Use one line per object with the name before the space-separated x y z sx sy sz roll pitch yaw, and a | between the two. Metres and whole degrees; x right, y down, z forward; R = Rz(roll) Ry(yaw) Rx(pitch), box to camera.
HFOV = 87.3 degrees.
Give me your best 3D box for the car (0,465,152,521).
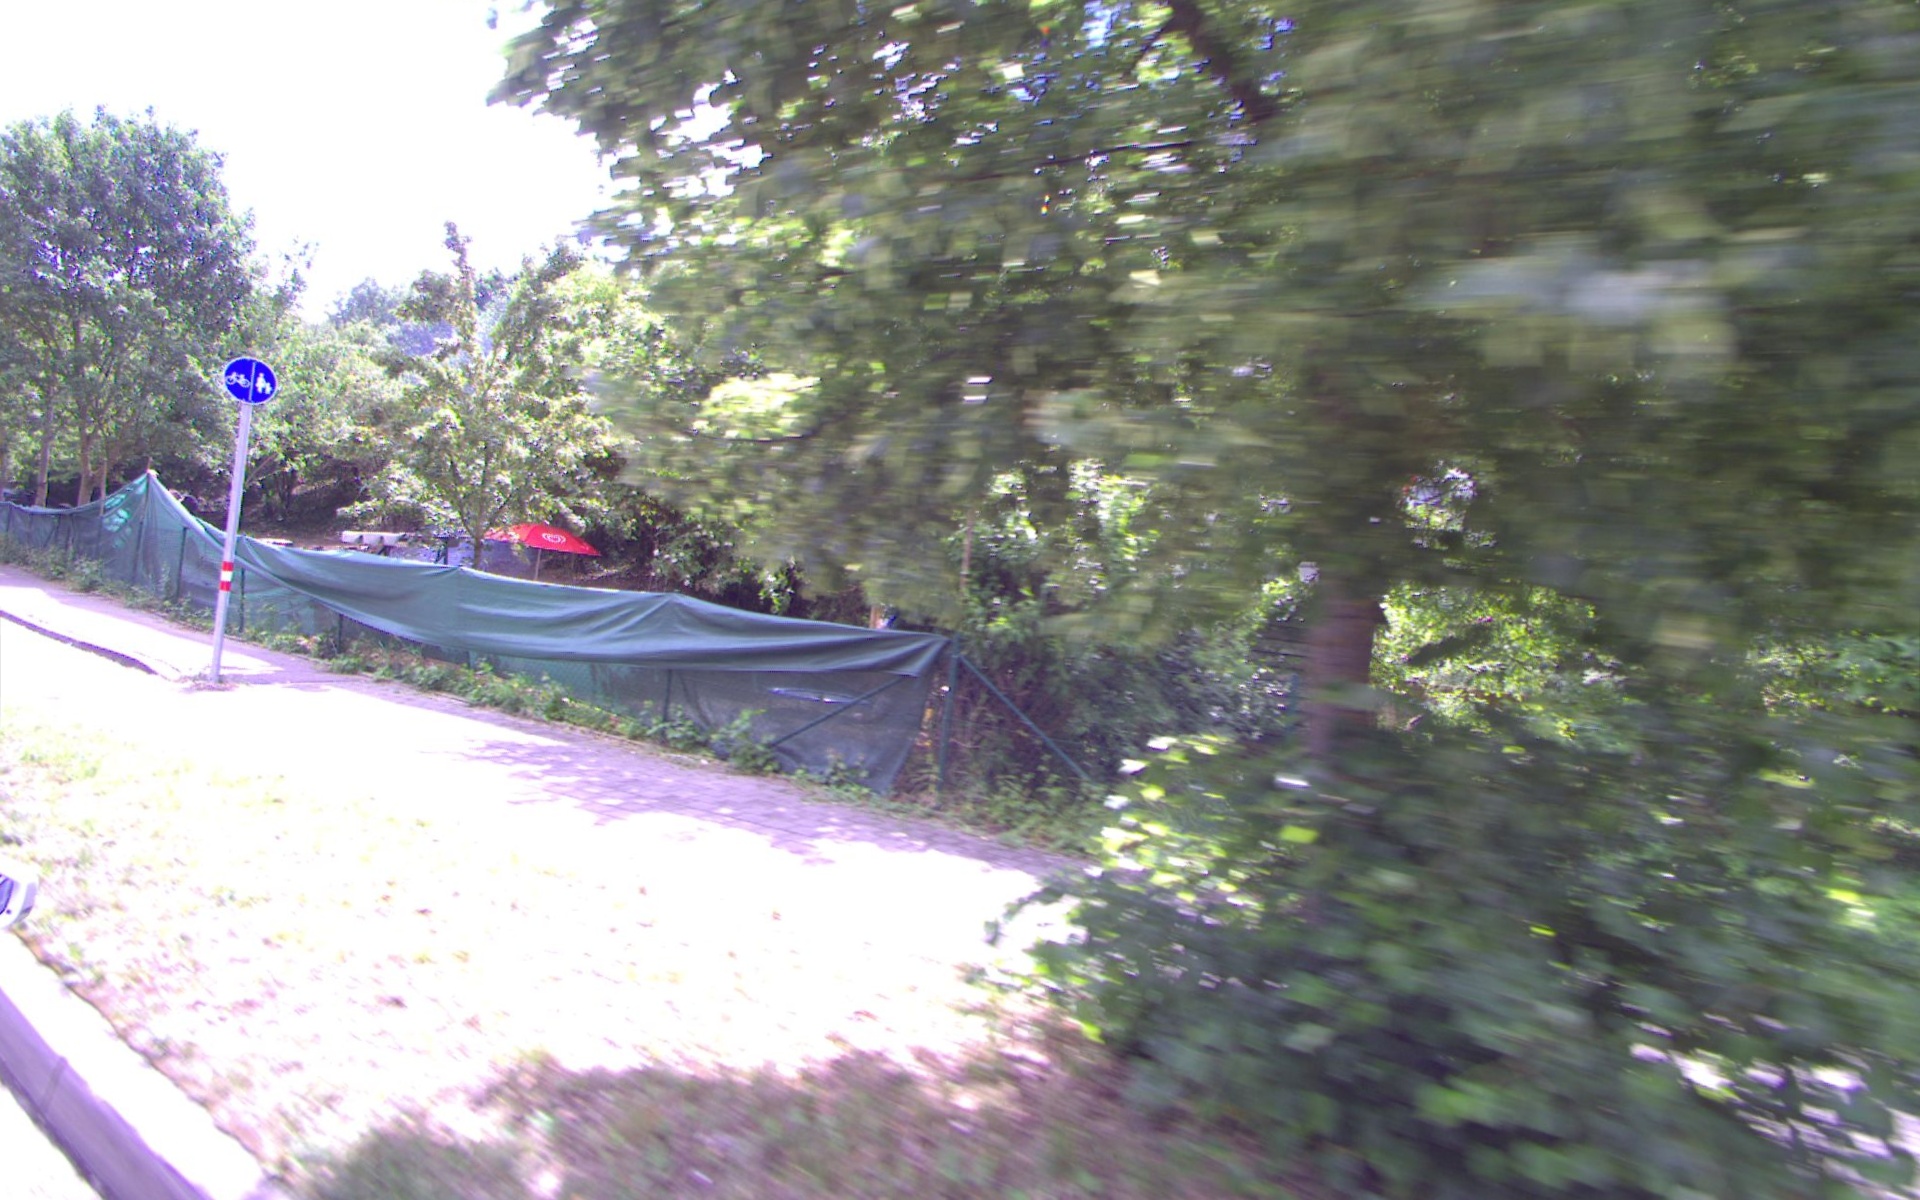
car | -35.802 -4.287 40.734 1.972 1.693 4.513 5 1 41
